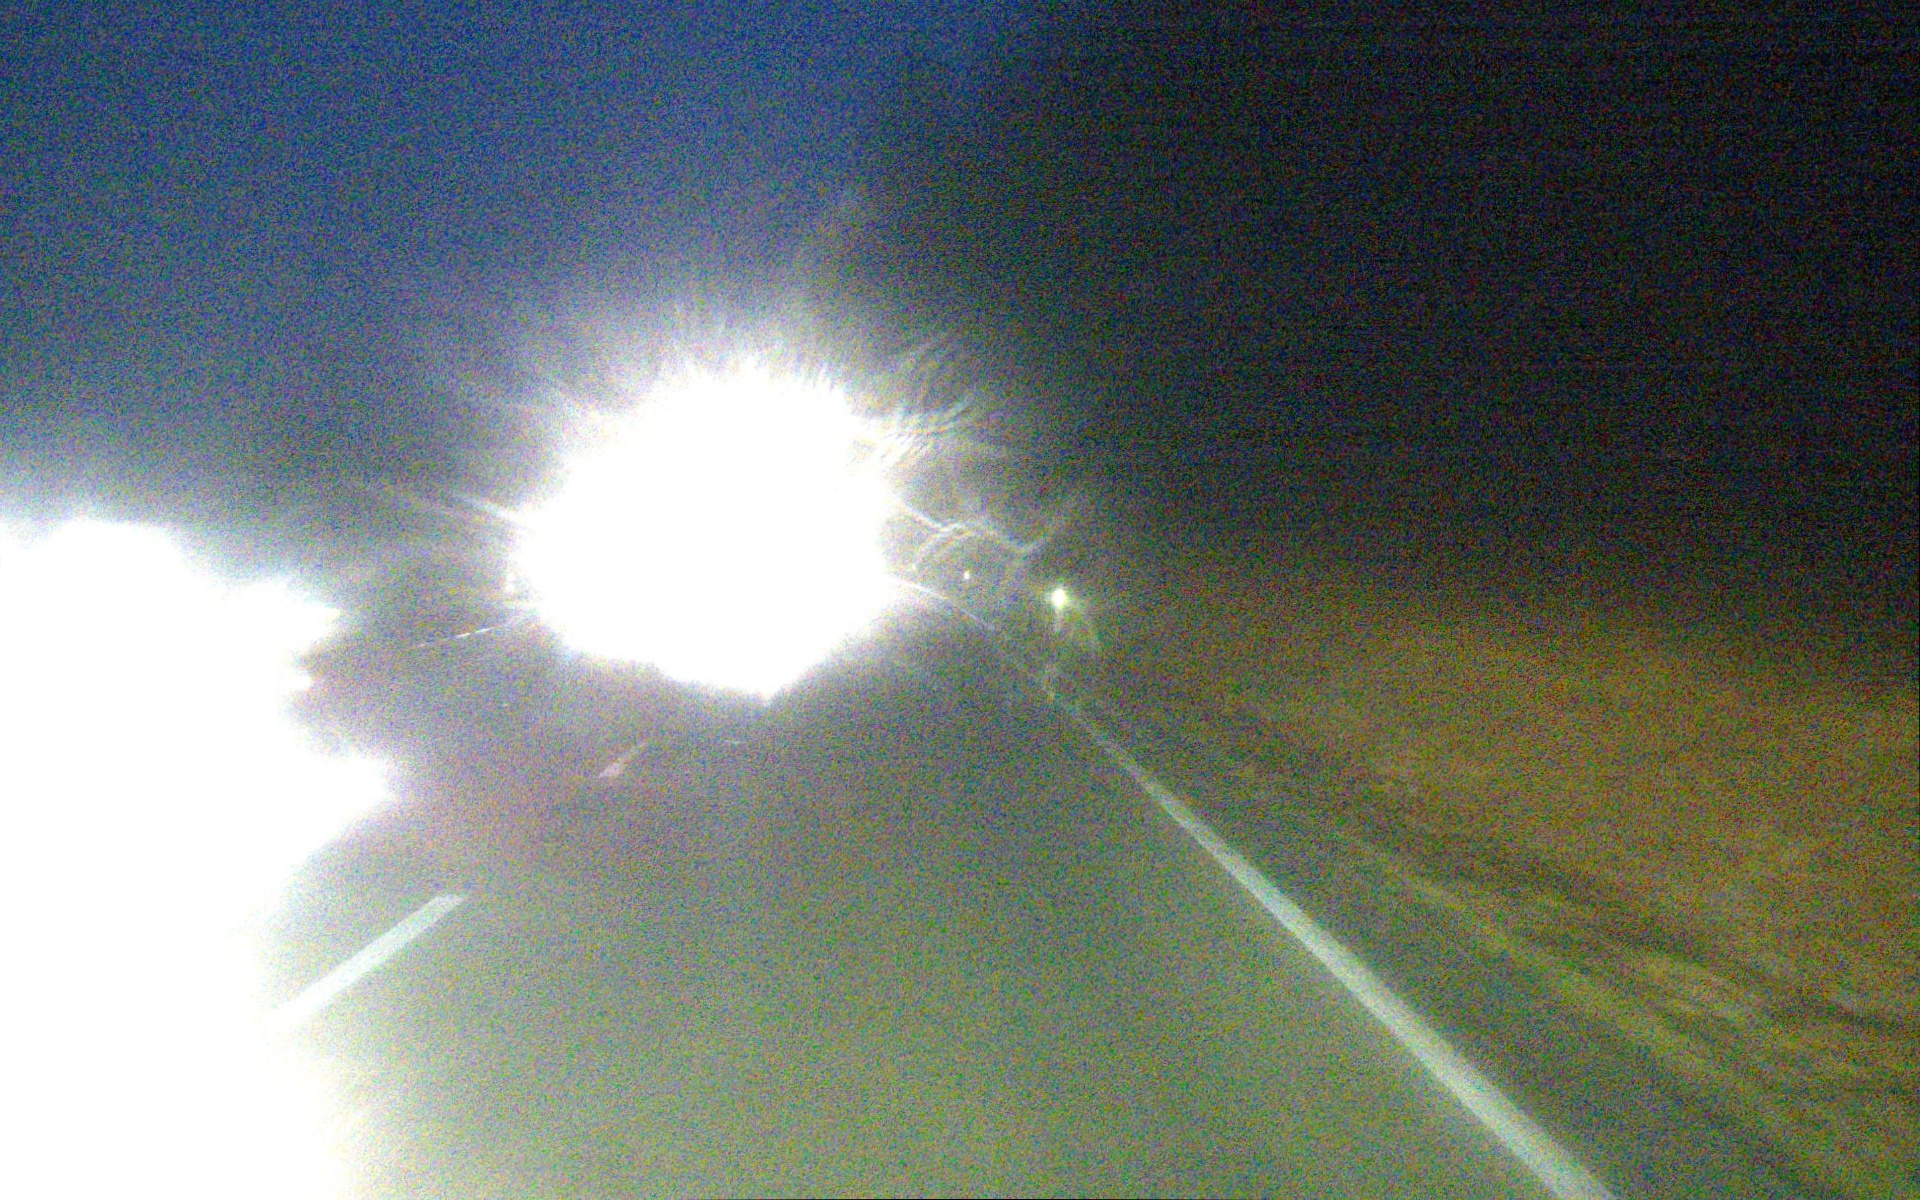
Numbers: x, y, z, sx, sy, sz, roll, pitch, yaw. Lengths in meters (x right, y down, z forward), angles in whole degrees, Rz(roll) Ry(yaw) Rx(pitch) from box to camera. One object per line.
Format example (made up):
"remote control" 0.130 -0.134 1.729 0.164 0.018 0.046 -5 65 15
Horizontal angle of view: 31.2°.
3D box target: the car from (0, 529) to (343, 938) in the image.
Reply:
"car" -3.966 0.431 14.399 1.993 1.443 4.430 1 1 -1

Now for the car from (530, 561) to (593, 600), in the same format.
"car" -15.563 -0.775 134.508 1.993 1.443 4.430 1 1 -1

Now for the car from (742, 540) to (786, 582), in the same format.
"car" -9.616 -1.927 169.190 1.993 2.007 4.000 1 1 -1

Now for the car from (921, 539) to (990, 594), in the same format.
"car" -0.103 -1.015 103.255 1.993 1.612 4.000 0 1 1
